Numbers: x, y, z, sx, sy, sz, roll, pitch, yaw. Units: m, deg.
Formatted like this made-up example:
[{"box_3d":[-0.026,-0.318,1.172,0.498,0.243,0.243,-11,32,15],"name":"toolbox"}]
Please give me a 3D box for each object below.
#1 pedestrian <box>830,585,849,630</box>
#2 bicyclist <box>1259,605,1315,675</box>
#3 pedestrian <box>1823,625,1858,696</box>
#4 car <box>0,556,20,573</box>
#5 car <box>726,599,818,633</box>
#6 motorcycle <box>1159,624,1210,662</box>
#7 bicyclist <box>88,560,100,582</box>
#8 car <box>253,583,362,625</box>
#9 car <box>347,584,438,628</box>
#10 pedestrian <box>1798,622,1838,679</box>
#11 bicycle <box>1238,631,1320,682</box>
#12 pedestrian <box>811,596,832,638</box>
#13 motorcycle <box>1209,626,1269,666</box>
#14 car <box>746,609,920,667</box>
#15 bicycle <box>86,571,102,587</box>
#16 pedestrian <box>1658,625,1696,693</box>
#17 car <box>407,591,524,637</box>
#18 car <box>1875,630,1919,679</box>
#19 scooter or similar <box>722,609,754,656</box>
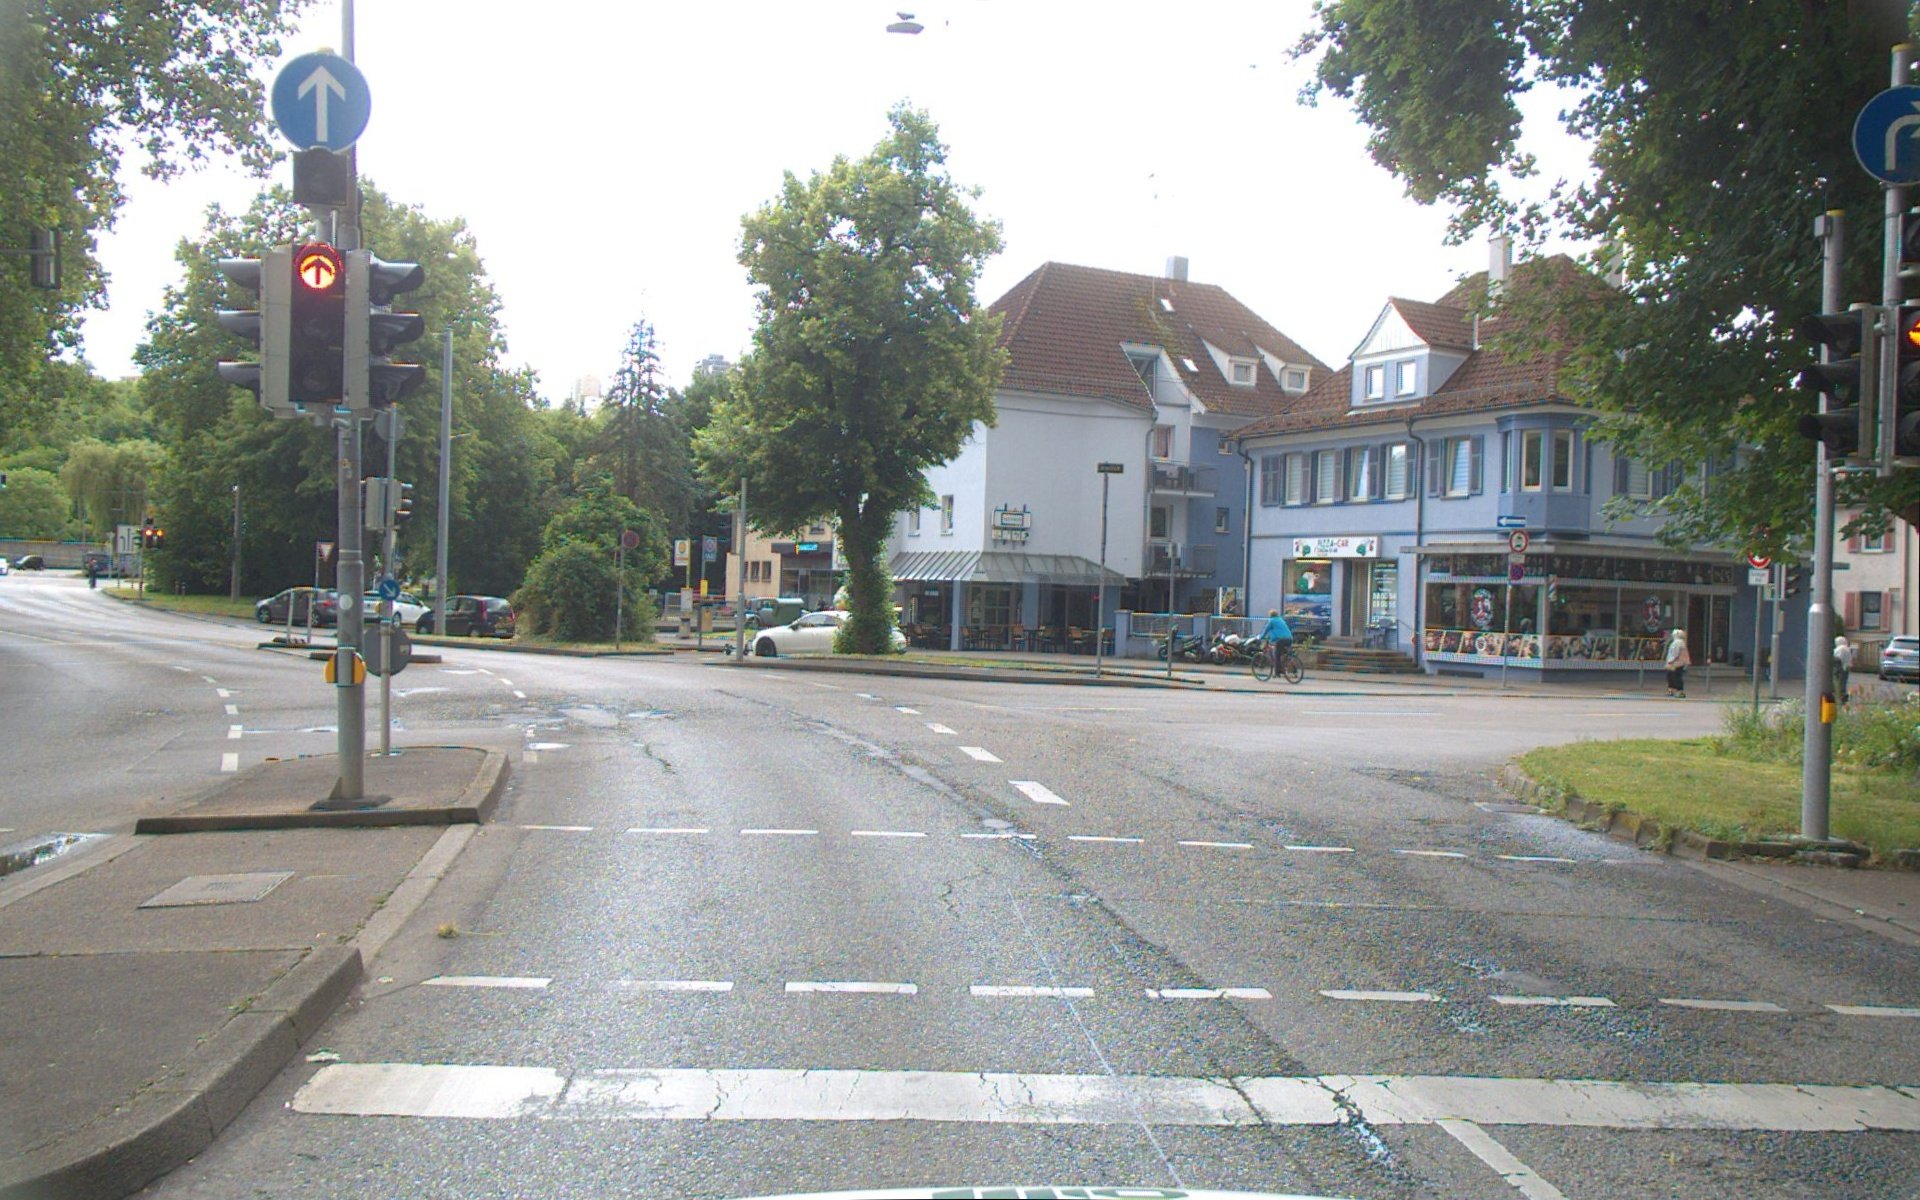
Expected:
[{"box_3d":[-4.304,0.270,59.150,0.531,1.587,0.468,0,-1,13],"name":"pedestrian"},{"box_3d":[8.090,0.979,40.930,0.909,1.680,0.975,1,0,-38],"name":"bicyclist"},{"box_3d":[20.070,1.377,37.709,0.681,1.587,0.665,0,-1,30],"name":"pedestrian"},{"box_3d":[-88.809,-3.304,153.773,2.971,1.442,1.491,0,-2,41],"name":"car"},{"box_3d":[-8.583,0.726,75.480,3.880,1.467,1.742,1,0,-21],"name":"car"},{"box_3d":[6.812,1.285,50.211,1.430,1.107,0.522,1,0,35],"name":"motorcycle"},{"box_3d":[-54.222,-1.811,103.548,0.532,1.365,0.710,1,0,-19],"name":"bicyclist"},{"box_3d":[-25.009,0.147,63.421,3.695,1.491,1.622,1,0,18],"name":"car"},{"box_3d":[-22.734,0.253,66.404,1.821,1.668,3.757,1,0,10],"name":"car"},{"box_3d":[24.061,1.407,46.406,0.659,1.587,0.743,1,-1,-15],"name":"pedestrian"},{"box_3d":[7.915,1.389,41.091,0.867,1.169,1.926,1,0,-38],"name":"bicycle"},{"box_3d":[-6.758,0.818,80.671,0.823,2.049,1.052,1,0,-15],"name":"pedestrian"},{"box_3d":[8.166,1.337,48.461,1.595,1.107,0.625,1,0,32],"name":"motorcycle"},{"box_3d":[-3.534,1.019,45.683,4.618,1.435,1.896,1,0,35],"name":"car"},{"box_3d":[-54.271,-1.299,103.658,0.548,0.975,2.022,1,0,-19],"name":"bicycle"},{"box_3d":[16.978,1.389,39.163,0.717,1.587,0.767,0,-1,30],"name":"pedestrian"},{"box_3d":[-15.915,0.443,53.263,3.252,1.376,1.778,1,0,27],"name":"car"},{"box_3d":[29.696,1.686,51.691,1.849,1.415,3.608,1,0,28],"name":"car"},{"box_3d":[-5.702,0.827,42.509,0.433,1.195,1.439,1,0,8],"name":"scooter or similar"}]
